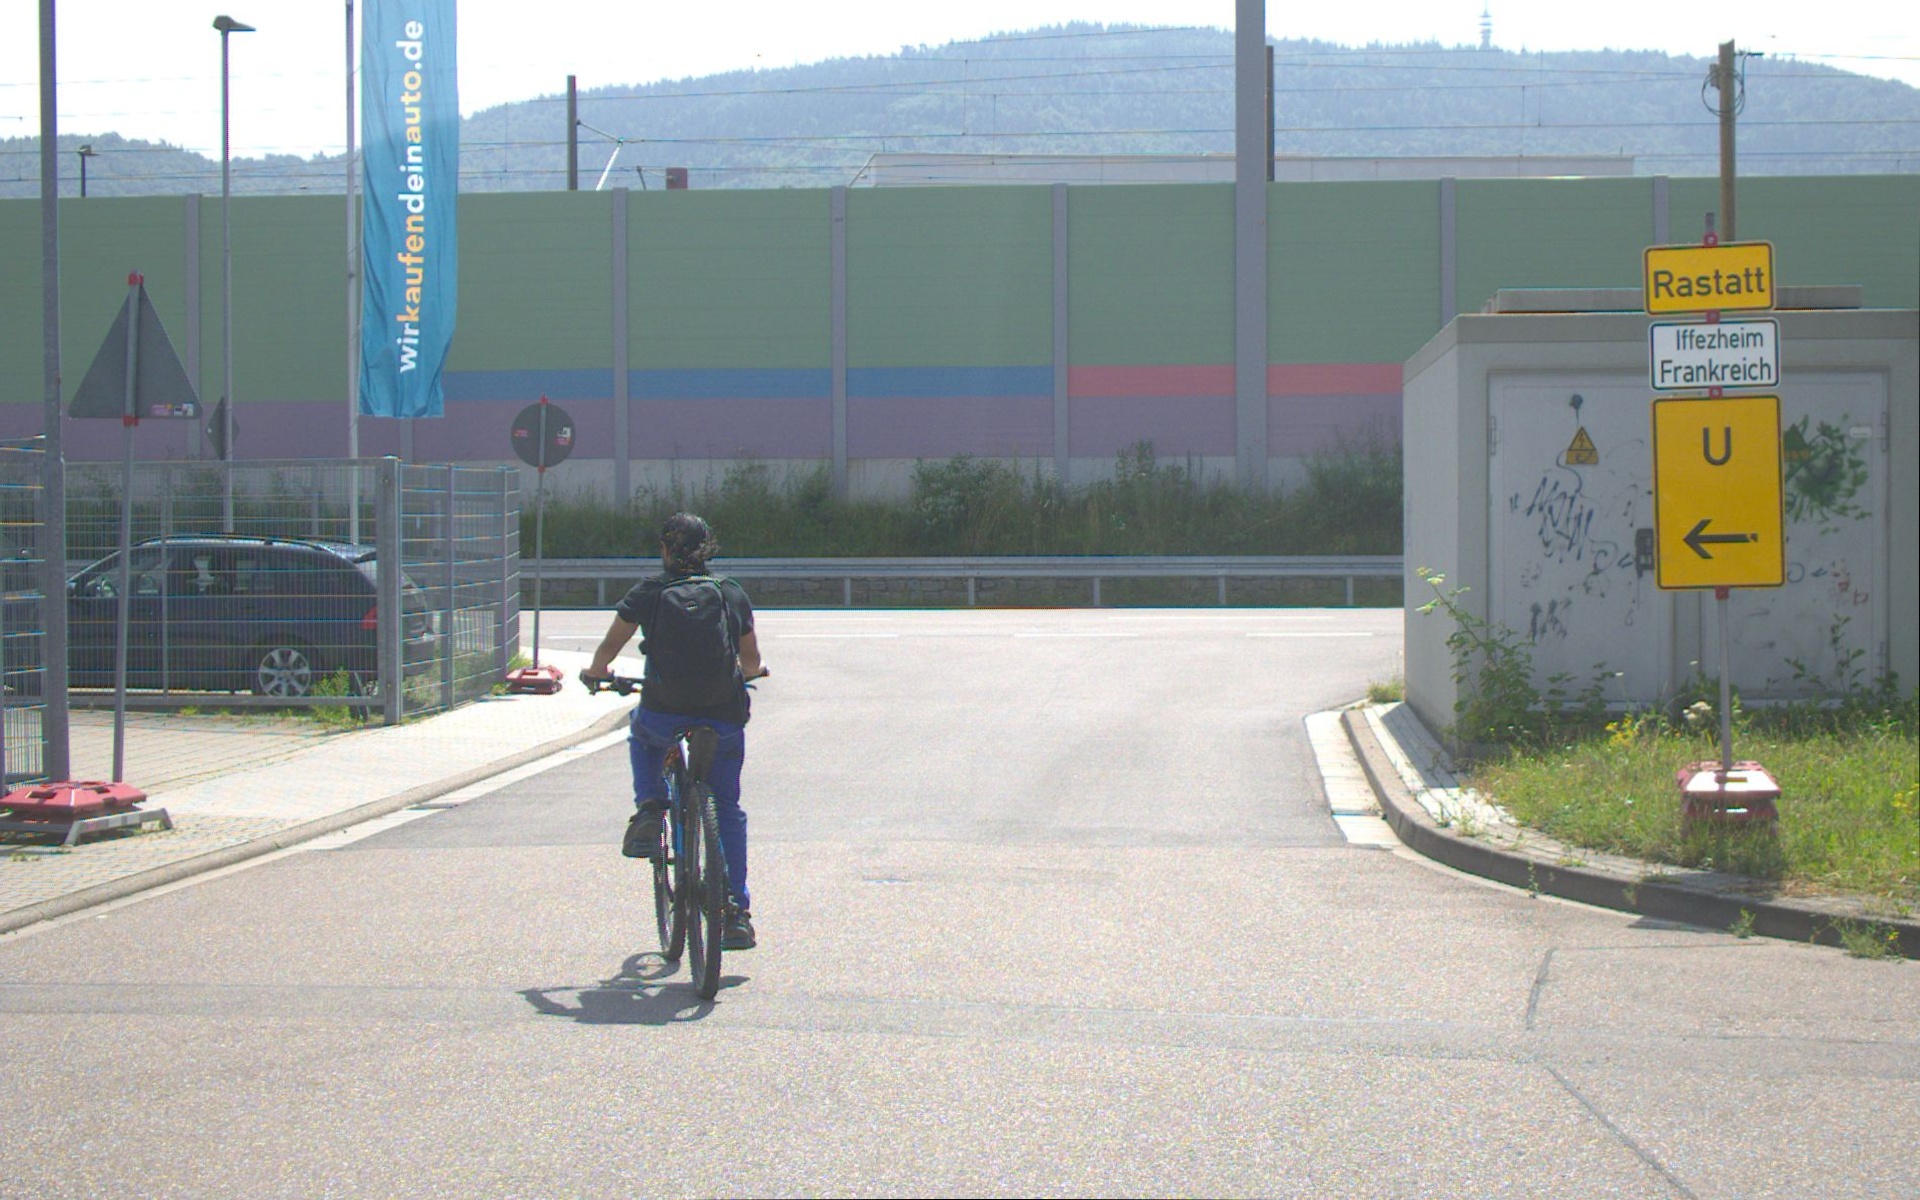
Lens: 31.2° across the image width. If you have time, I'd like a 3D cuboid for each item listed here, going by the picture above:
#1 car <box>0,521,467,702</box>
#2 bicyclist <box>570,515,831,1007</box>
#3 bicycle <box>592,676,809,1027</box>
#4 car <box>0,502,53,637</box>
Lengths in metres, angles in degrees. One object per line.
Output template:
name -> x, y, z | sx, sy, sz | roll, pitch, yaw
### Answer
car -> -6.478, 0.072, 29.620 | 3.988, 1.487, 1.999 | 0, 1, 10
bicyclist -> -0.893, 0.530, 11.831 | 0.842, 1.613, 1.039 | 0, 0, -4
bicycle -> -0.903, 0.824, 11.931 | 0.685, 1.048, 1.901 | 0, 1, -4
car -> -12.223, -0.348, 40.027 | 1.994, 1.576, 4.000 | 0, 1, 5
